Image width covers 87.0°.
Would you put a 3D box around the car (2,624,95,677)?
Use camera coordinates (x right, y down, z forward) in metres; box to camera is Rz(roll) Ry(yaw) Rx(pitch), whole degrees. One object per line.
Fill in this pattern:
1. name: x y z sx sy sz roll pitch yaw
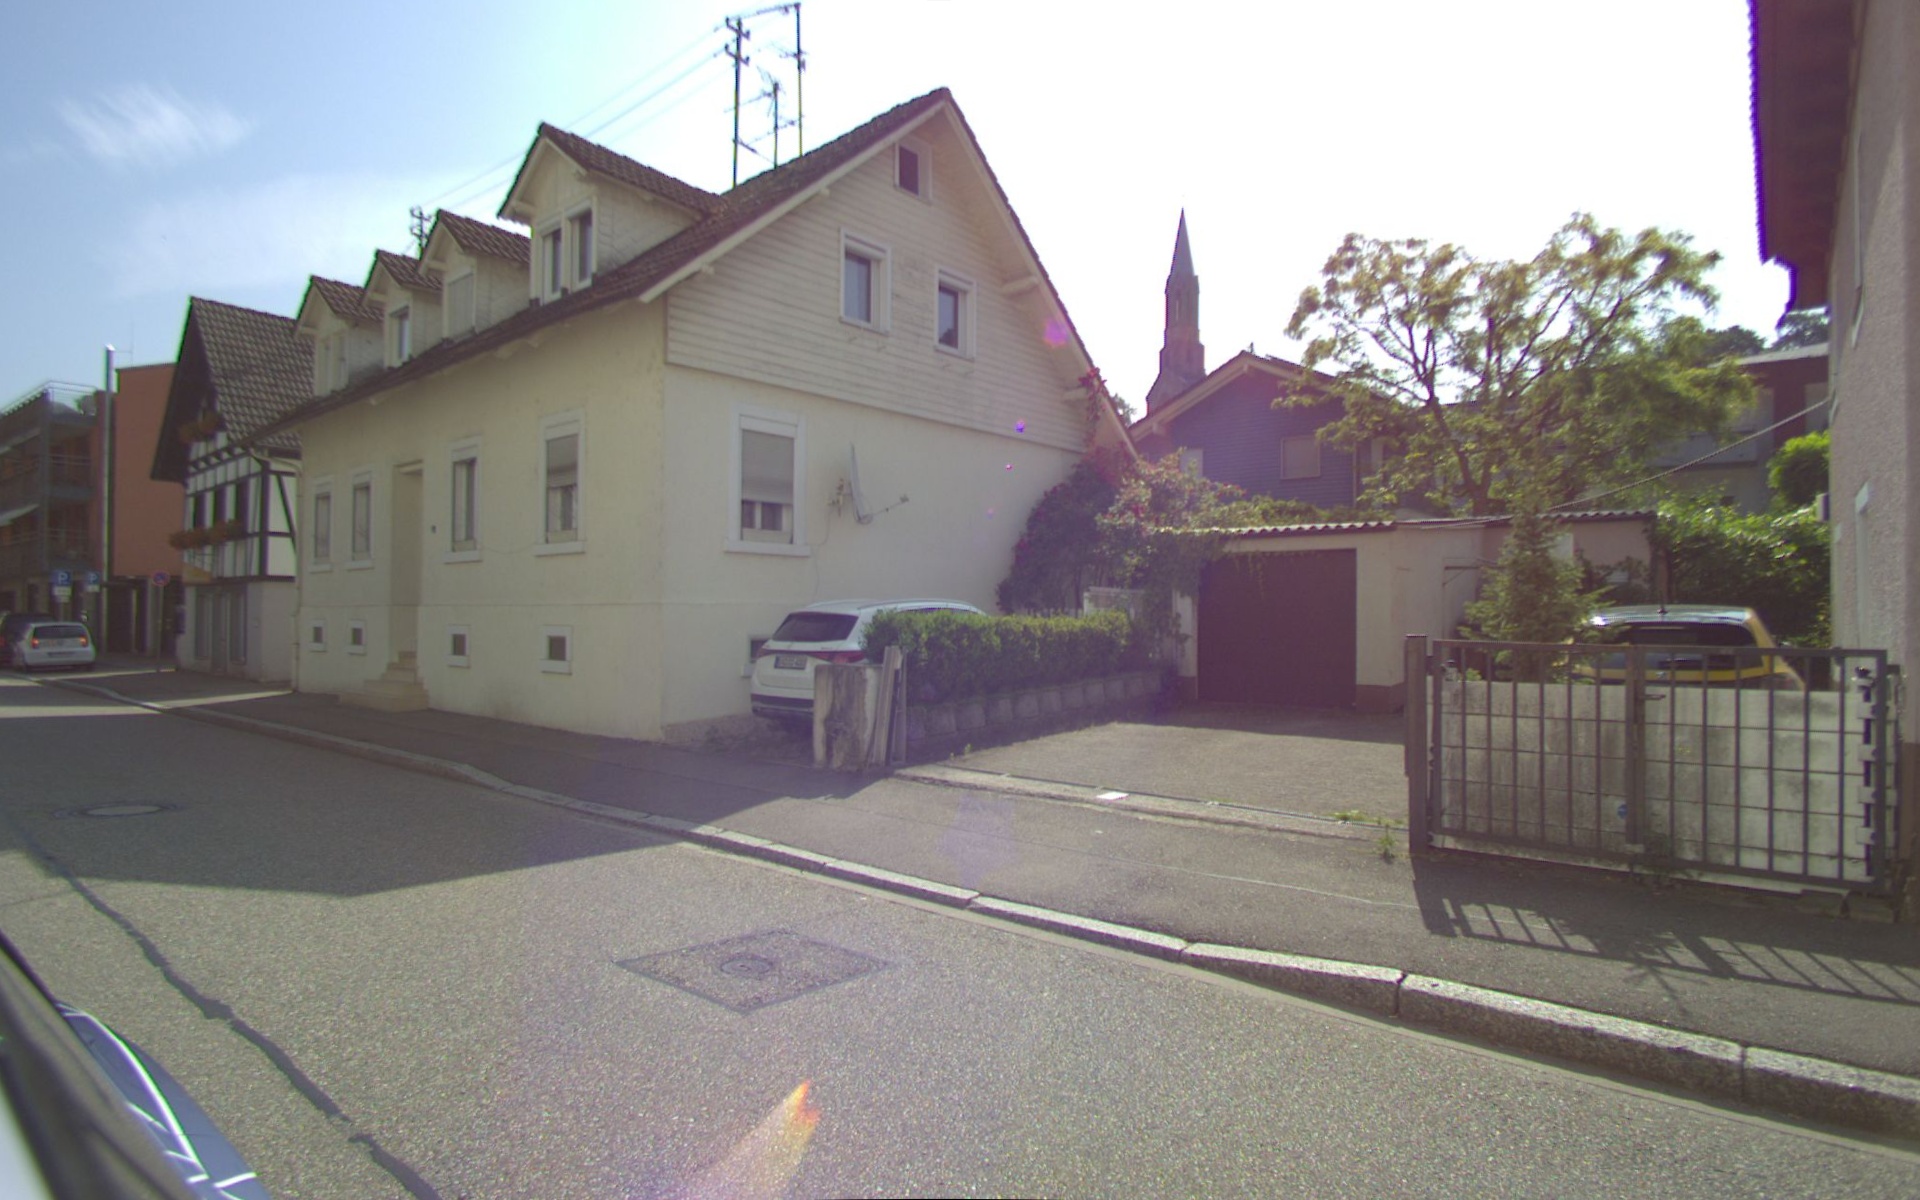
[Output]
1. car: -27.318 1.481 30.302 3.566 1.443 1.649 -2 -1 41

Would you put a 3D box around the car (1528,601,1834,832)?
1. car: 5.864 0.735 8.264 1.643 1.403 3.716 -1 0 37

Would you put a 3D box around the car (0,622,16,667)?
1. car: -35.980 1.622 36.950 3.944 1.601 1.658 -1 -1 39

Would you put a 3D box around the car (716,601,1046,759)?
1. car: -0.812 0.828 12.434 1.904 1.606 3.949 -1 -1 37

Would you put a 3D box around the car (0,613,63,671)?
1. car: -31.346 1.358 33.503 4.263 1.810 1.704 -1 -2 38
